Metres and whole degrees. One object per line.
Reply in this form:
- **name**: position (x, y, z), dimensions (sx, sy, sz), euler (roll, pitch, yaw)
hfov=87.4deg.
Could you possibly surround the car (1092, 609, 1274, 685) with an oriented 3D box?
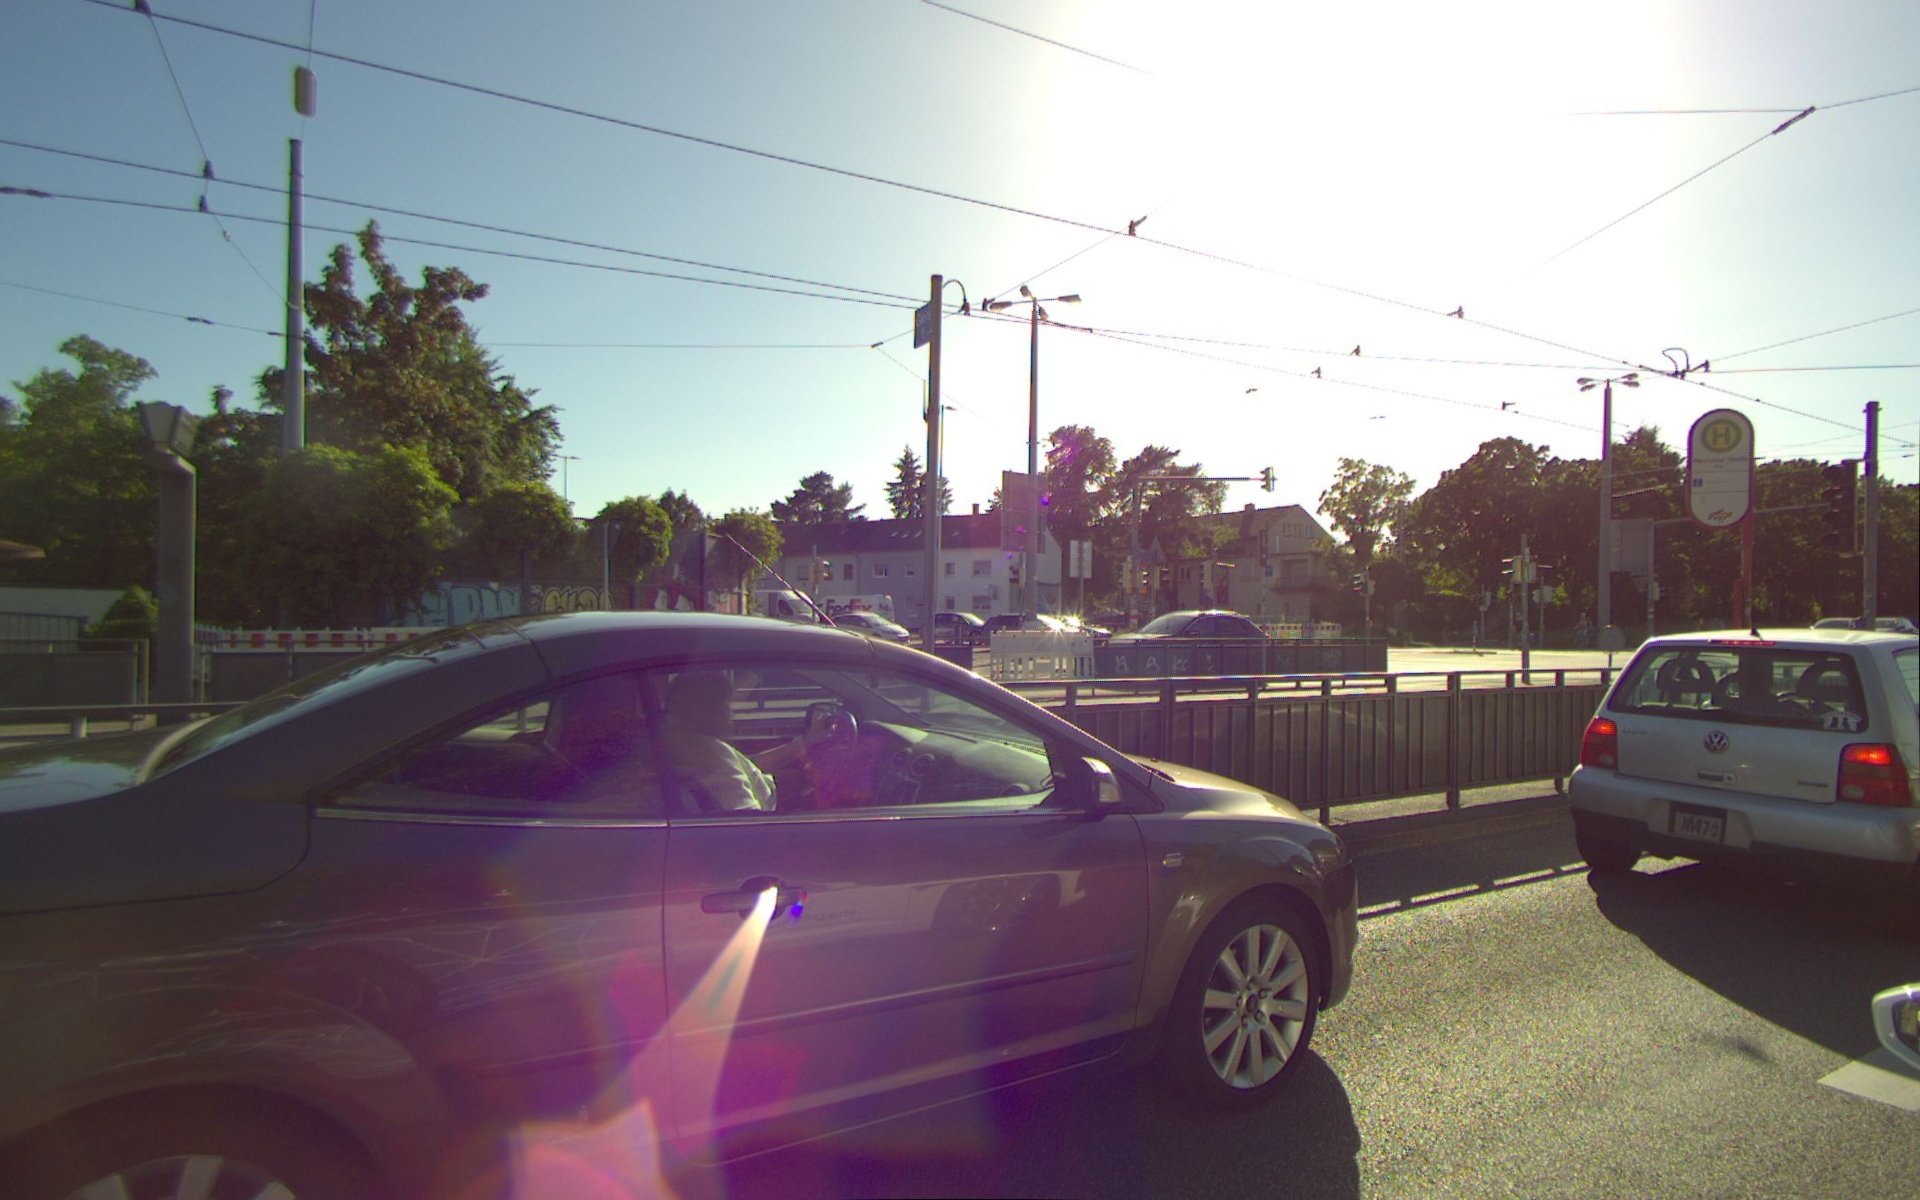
- **car**: position (4.991, 1.011, 22.393), dimensions (3.936, 1.564, 1.580), euler (1, -1, -30)

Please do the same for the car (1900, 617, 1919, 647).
- **car**: position (54.284, 1.789, 56.054), dimensions (4.712, 1.626, 1.978), euler (1, 1, -38)

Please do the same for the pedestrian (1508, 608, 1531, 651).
- **pedestrian**: position (26.448, 1.394, 47.502), dimensions (0.785, 2.040, 0.741), euler (1, -1, -42)

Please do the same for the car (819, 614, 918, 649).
- **car**: position (-4.028, 1.359, 43.933), dimensions (4.104, 1.451, 1.846), euler (0, -1, 34)

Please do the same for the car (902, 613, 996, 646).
- **car**: position (-0.515, 1.310, 45.814), dimensions (4.104, 1.451, 1.589), euler (0, -1, 34)

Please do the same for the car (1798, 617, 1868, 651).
- **car**: position (42.442, 1.647, 48.800), dimensions (3.963, 1.568, 1.819), euler (1, -1, -37)

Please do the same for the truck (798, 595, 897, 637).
- **truck**: position (-7.393, 1.010, 65.789), dimensions (6.706, 2.599, 1.995), euler (0, -1, 33)

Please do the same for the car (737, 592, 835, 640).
- **car**: position (-9.112, 0.822, 52.429), dimensions (4.995, 2.434, 2.132), euler (0, -1, 34)

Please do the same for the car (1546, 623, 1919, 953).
- **car**: position (5.209, 0.883, 5.965), dimensions (3.312, 1.436, 1.611), euler (2, -2, -31)

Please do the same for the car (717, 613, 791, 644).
- **car**: position (-9.936, 1.343, 48.342), dimensions (3.552, 1.425, 1.481), euler (0, -1, 35)

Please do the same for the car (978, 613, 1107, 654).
- **car**: position (3.184, 1.275, 39.213), dimensions (4.754, 1.517, 1.781), euler (0, -1, 34)

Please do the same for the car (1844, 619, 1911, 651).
- **car**: position (47.326, 1.771, 51.788), dimensions (4.245, 1.568, 1.819), euler (1, -1, -37)

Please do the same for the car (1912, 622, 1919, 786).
- **car**: position (10.781, 0.996, 9.451), dimensions (4.038, 1.476, 1.611), euler (2, 0, -31)

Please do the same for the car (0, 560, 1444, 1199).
- **car**: position (-0.683, 0.706, 2.960), dimensions (4.284, 1.469, 1.766), euler (1, -1, -31)
